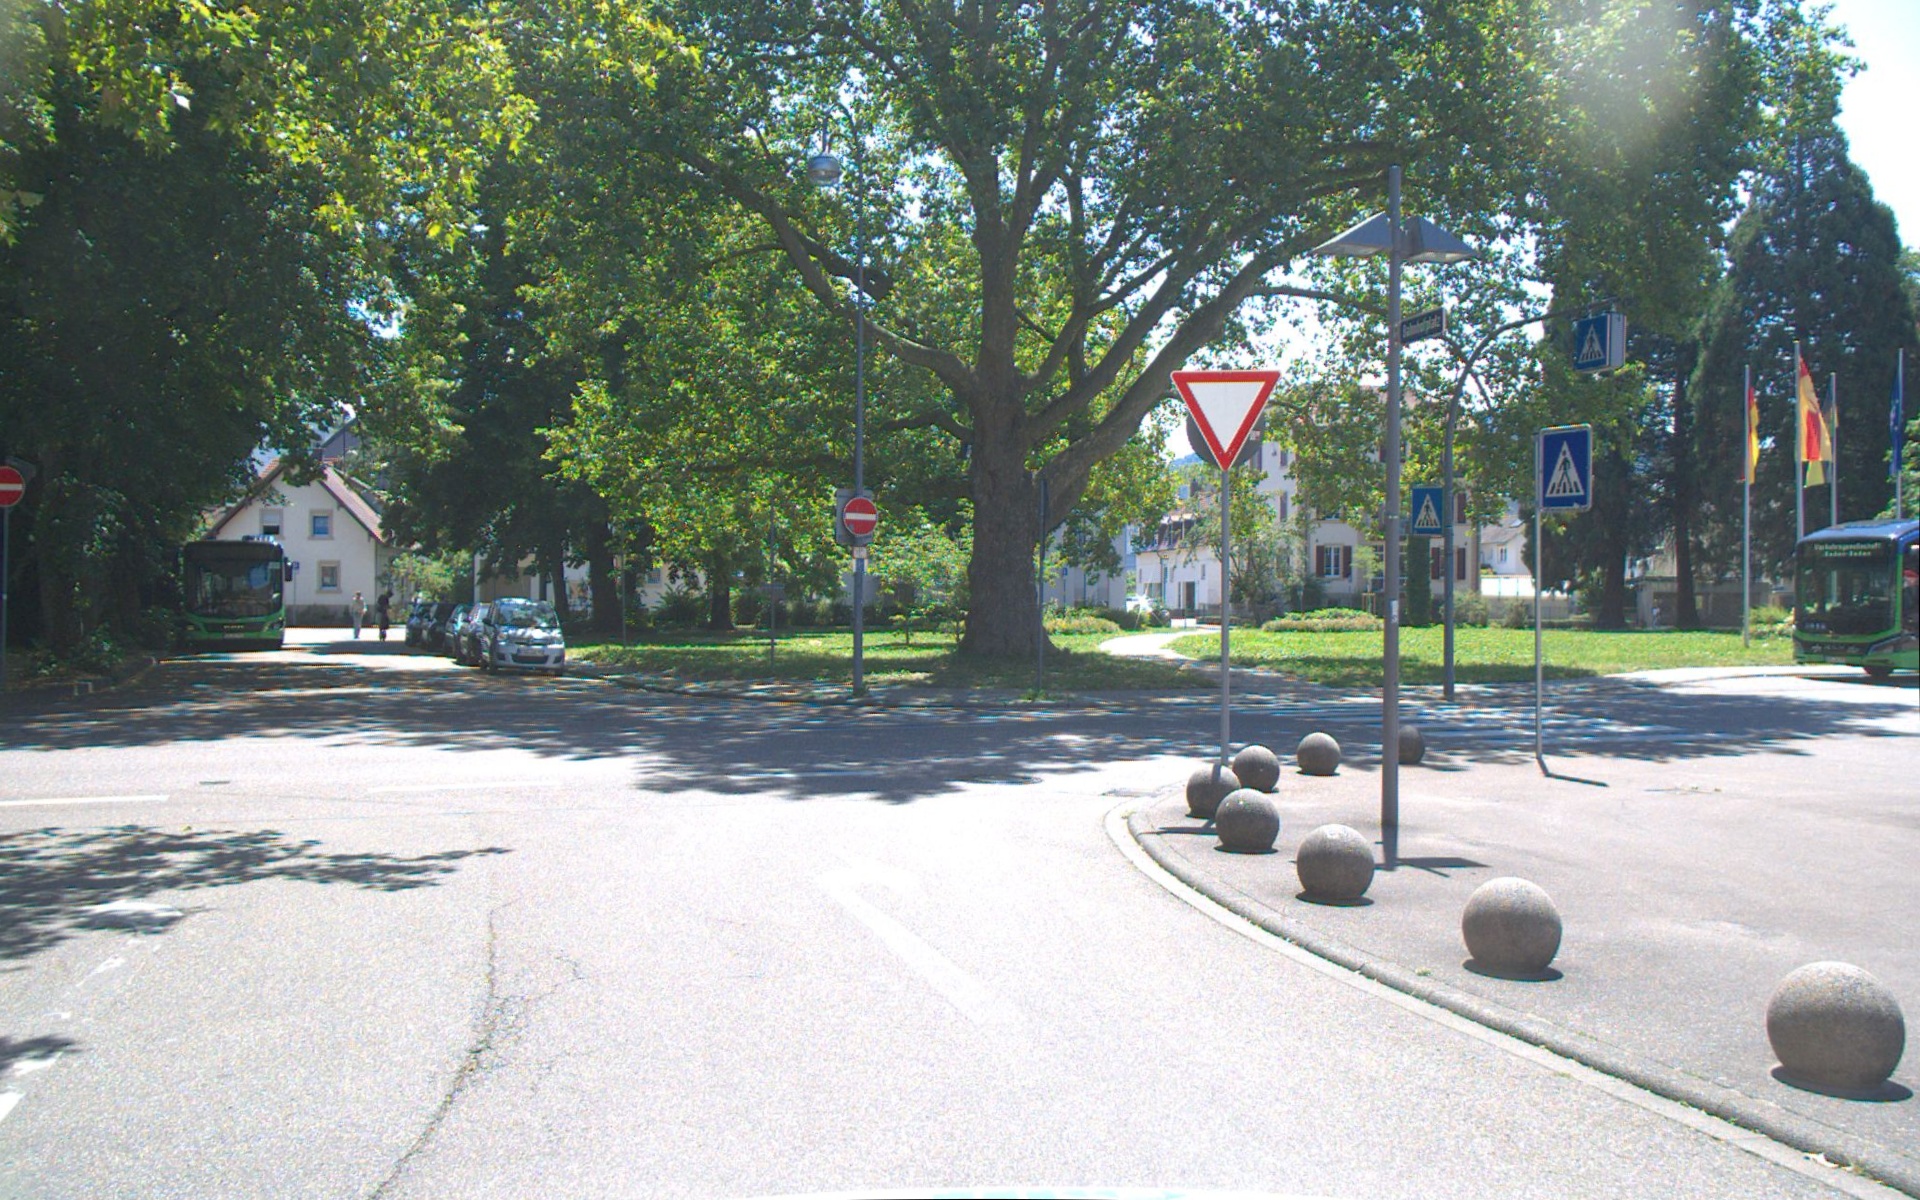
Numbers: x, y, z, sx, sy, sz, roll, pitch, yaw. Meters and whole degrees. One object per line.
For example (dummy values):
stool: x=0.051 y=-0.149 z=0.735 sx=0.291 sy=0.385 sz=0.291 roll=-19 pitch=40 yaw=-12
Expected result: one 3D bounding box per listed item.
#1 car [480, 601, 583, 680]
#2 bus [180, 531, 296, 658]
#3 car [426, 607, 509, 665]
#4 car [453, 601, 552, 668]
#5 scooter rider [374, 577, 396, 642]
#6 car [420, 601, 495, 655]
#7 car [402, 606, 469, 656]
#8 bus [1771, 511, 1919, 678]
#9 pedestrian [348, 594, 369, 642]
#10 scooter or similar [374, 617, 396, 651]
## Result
car: x=-8.941 y=0.806 z=34.360 sx=1.573 sy=1.523 sz=3.462 roll=1 pitch=0 yaw=-23
bus: x=-22.281 y=-0.156 z=51.531 sx=2.829 sy=3.352 sz=15.841 roll=0 pitch=0 yaw=-22
car: x=-13.579 y=0.945 z=45.408 sx=1.726 sy=1.464 sz=4.737 roll=0 pitch=0 yaw=-22
car: x=-10.938 y=0.789 z=39.330 sx=1.726 sy=1.464 sz=4.472 roll=1 pitch=0 yaw=-22
scooter rider: x=-21.030 y=0.339 z=60.500 sx=0.728 sy=2.358 sz=0.921 roll=0 pitch=0 yaw=-21
car: x=-15.193 y=0.797 z=49.854 sx=1.730 sy=1.519 sz=4.344 roll=0 pitch=0 yaw=-23
car: x=-16.998 y=0.979 z=53.506 sx=1.730 sy=1.519 sz=3.890 roll=0 pitch=0 yaw=-23
bus: x=23.556 y=-0.152 z=36.737 sx=12.219 sy=3.340 sz=2.797 roll=0 pitch=0 yaw=-24
pedestrian: x=-22.809 y=0.673 z=62.718 sx=0.708 sy=1.834 sz=0.936 roll=0 pitch=0 yaw=-17
scooter or similar: x=-21.027 y=1.241 z=60.490 sx=0.728 sy=1.204 sz=1.509 roll=0 pitch=0 yaw=-21
